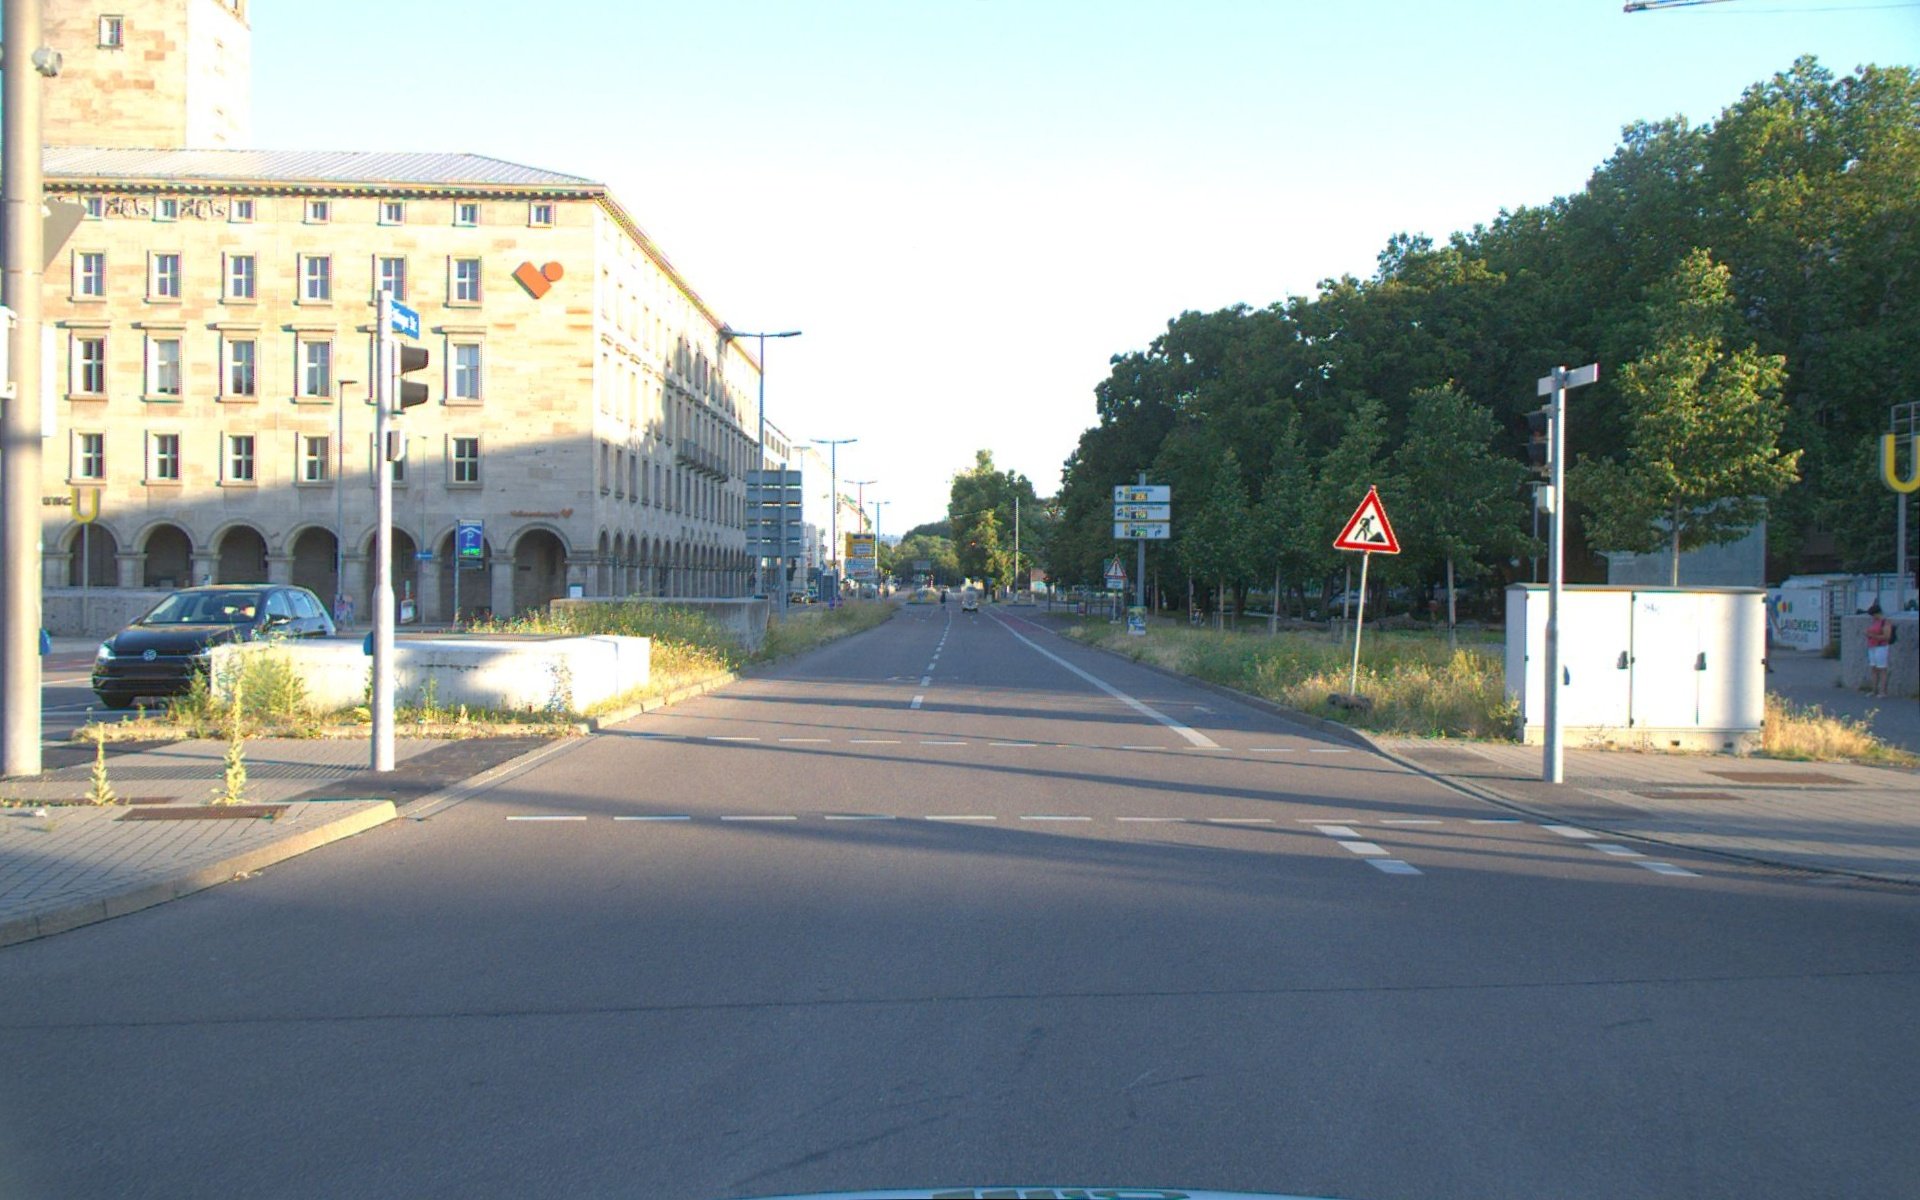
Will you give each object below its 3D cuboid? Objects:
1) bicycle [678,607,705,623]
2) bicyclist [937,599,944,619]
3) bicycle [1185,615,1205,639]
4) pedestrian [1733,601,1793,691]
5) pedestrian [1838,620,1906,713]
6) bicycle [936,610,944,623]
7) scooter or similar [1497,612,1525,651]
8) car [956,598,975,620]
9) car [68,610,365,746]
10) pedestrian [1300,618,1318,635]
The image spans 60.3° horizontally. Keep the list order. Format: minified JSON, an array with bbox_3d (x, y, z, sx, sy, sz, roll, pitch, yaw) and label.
[{"bbox_3d":[-17.923,0.979,110.448,0.469,1.023,1.998,0,0,35],"label":"bicycle"},{"bbox_3d":[-1.679,0.790,142.204,0.615,1.723,0.748,0,0,-1],"label":"bicyclist"},{"bbox_3d":[10.553,1.218,74.188,0.484,1.023,1.899,-2,0,19],"label":"bicycle"},{"bbox_3d":[16.991,0.956,35.037,0.797,1.847,1.047,0,1,5],"label":"pedestrian"},{"bbox_3d":[15.308,1.109,27.768,0.744,1.516,0.644,0,2,-2],"label":"pedestrian"},{"bbox_3d":[-1.729,1.417,142.416,0.624,1.087,2.069,0,0,-1],"label":"bicycle"},{"bbox_3d":[18.227,1.044,54.764,0.415,1.242,1.398,-2,0,0],"label":"scooter or similar"},{"bbox_3d":[0.469,0.743,137.671,1.429,1.812,2.565,0,0,2],"label":"car"},{"bbox_3d":[-9.292,0.908,21.135,1.848,1.491,4.536,0,0,-2],"label":"car"},{"bbox_3d":[18.215,1.372,86.268,0.669,0.900,0.619,0,0,-23],"label":"pedestrian"}]
